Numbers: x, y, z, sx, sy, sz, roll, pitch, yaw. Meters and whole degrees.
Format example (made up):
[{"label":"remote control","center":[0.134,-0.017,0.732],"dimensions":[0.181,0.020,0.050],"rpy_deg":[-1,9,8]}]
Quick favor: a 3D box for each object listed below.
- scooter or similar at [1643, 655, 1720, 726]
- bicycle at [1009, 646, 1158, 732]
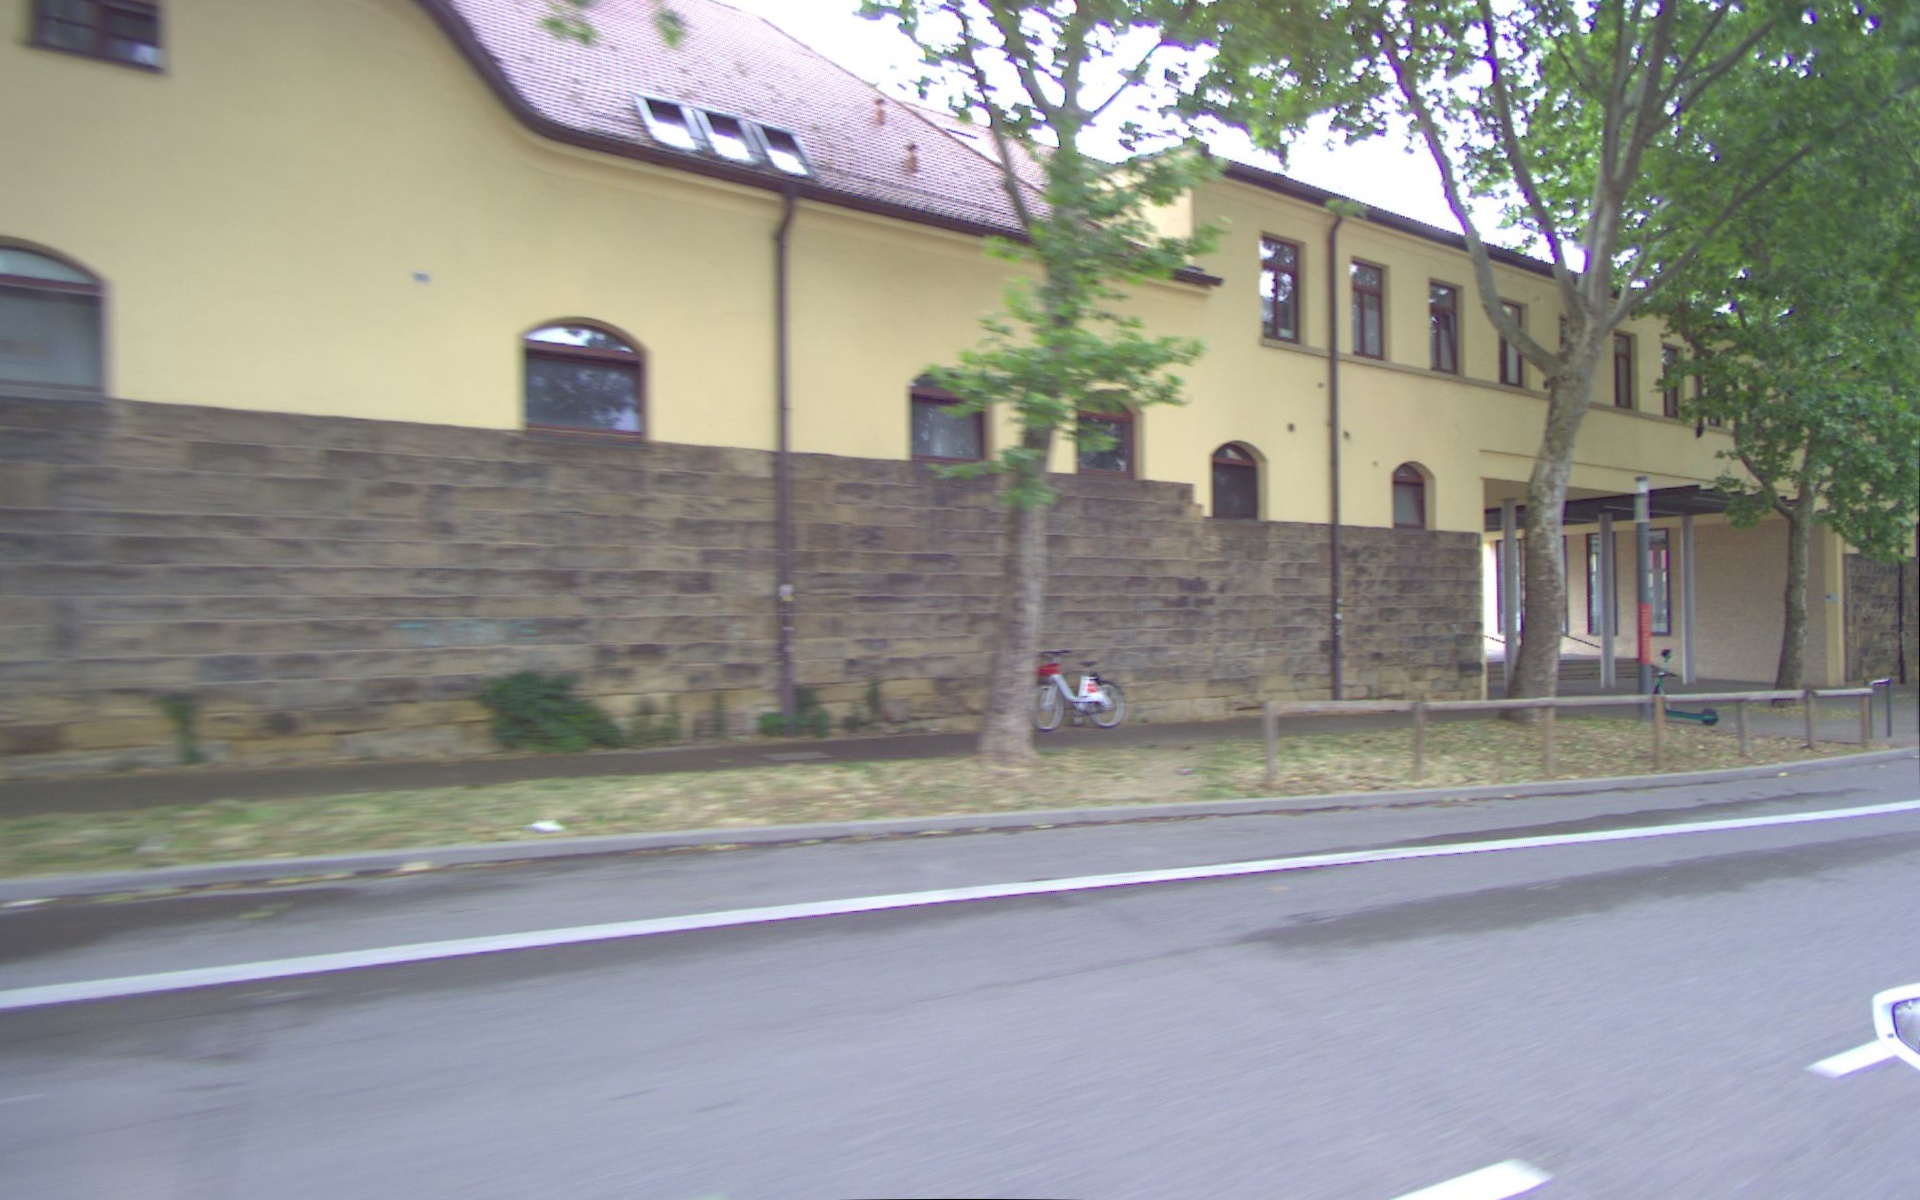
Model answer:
[{"label":"scooter or similar","center":[12.796,1.585,17.827],"dimensions":[0.487,1.200,1.020],"rpy_deg":[2,-2,-40]},{"label":"bicycle","center":[1.776,1.237,14.290],"dimensions":[2.169,1.106,0.593],"rpy_deg":[2,1,-31]}]
